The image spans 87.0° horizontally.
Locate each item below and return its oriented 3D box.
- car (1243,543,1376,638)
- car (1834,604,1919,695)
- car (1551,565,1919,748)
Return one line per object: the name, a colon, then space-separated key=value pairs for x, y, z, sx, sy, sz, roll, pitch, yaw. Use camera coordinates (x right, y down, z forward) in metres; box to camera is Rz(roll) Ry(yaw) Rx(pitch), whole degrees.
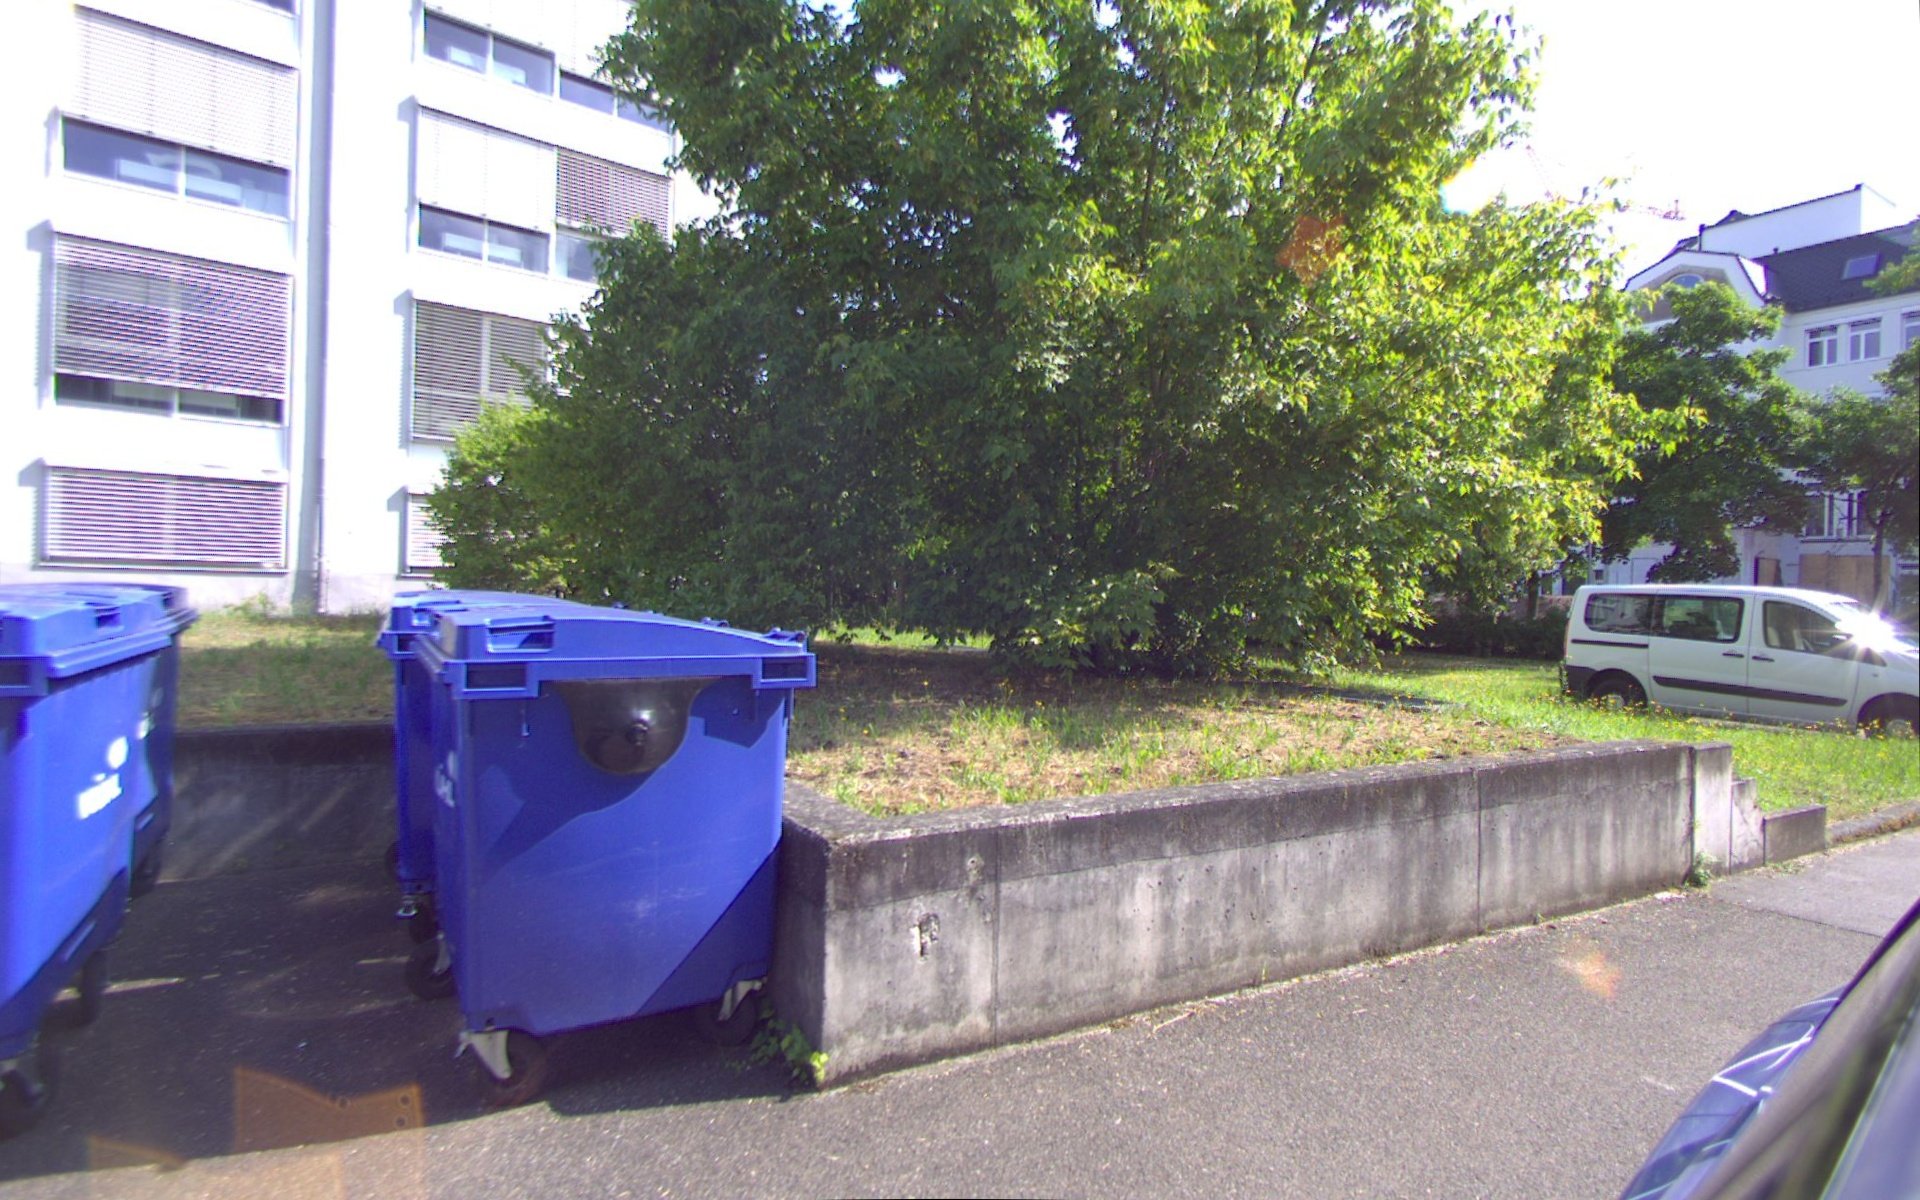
car: x=12.503 y=-0.356 z=35.831 sx=1.992 sy=3.085 sz=6.871 roll=1 pitch=1 yaw=41
car: x=17.452 y=0.902 z=16.951 sx=1.725 sy=1.437 sz=3.920 roll=-2 pitch=3 yaw=-33
car: x=10.611 y=0.578 z=12.919 sx=1.960 sy=1.989 sz=4.961 roll=0 pitch=2 yaw=-30
